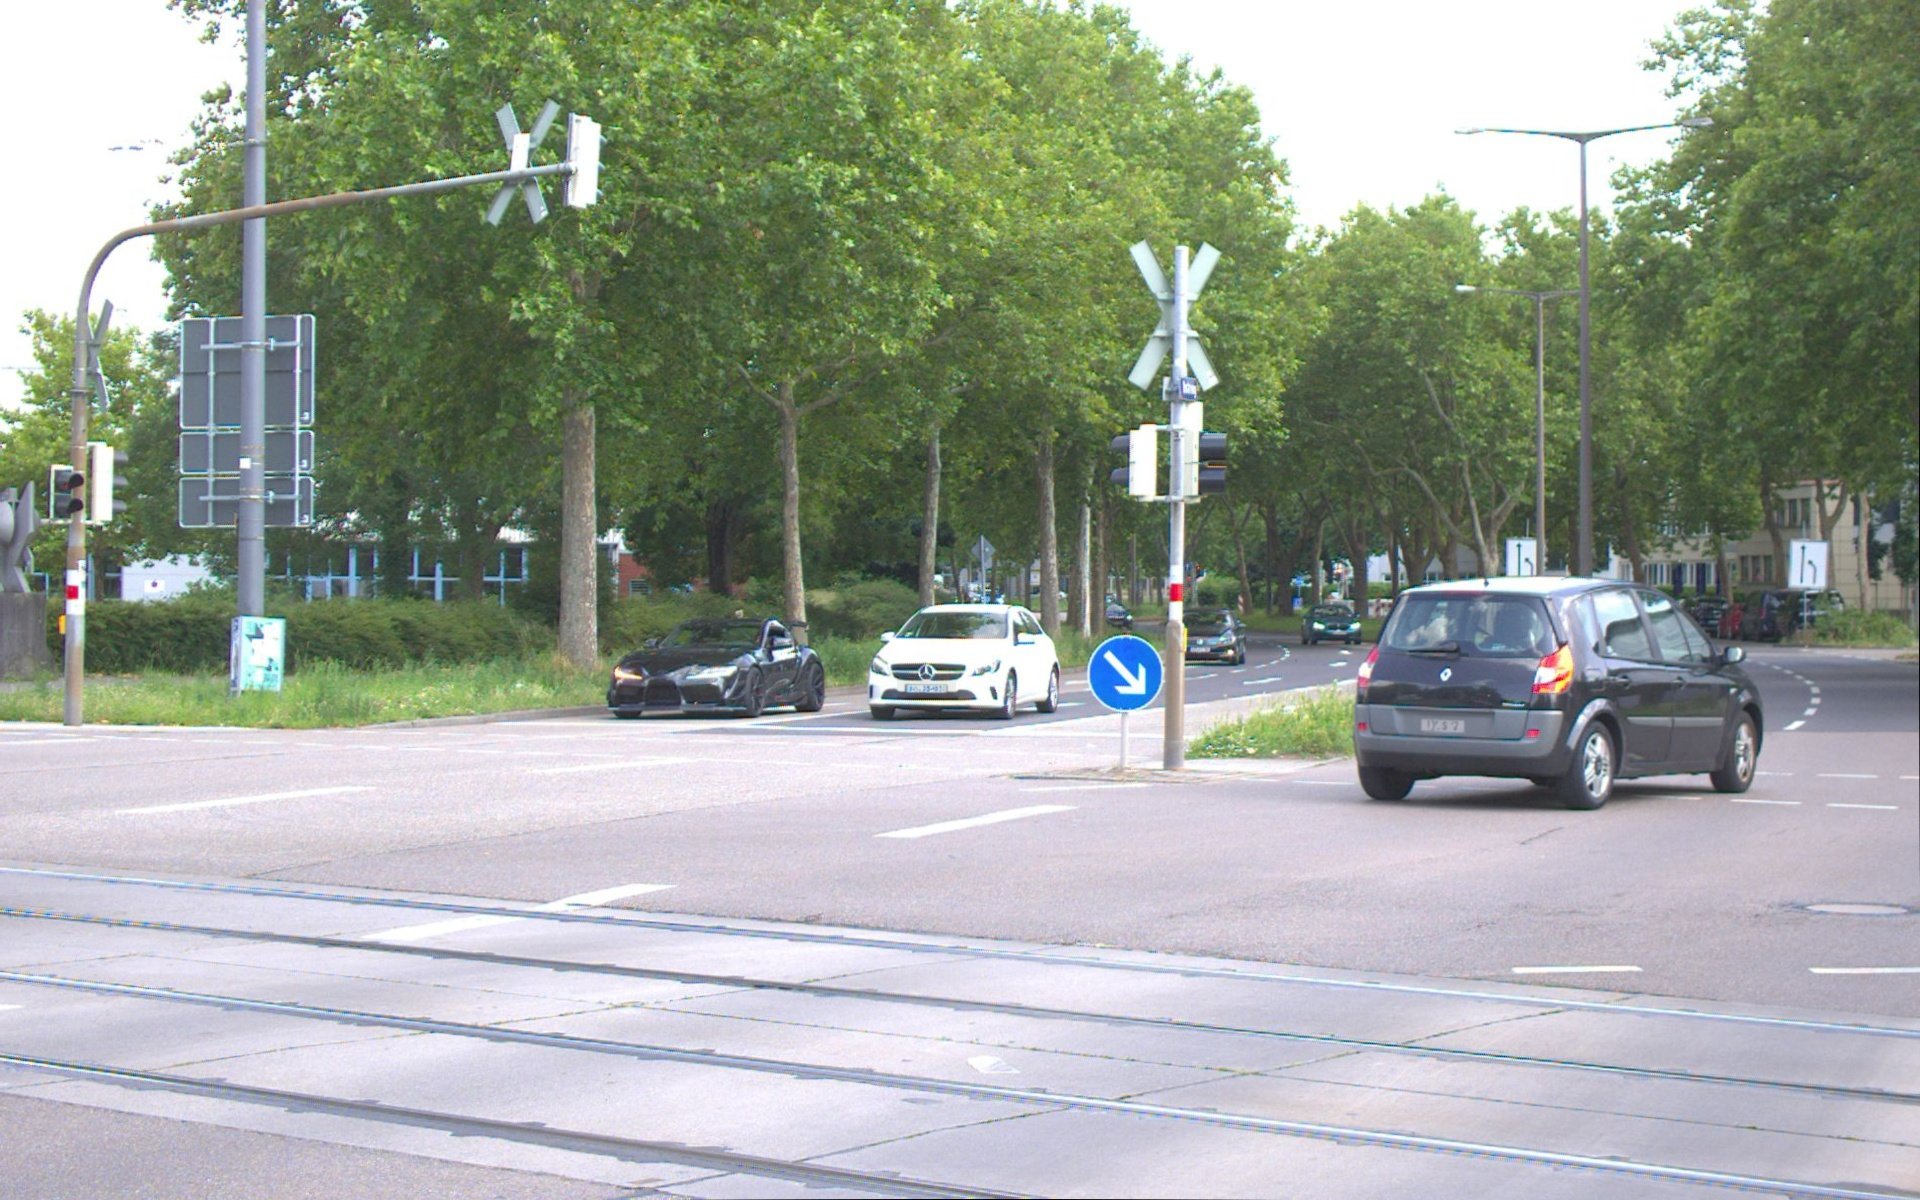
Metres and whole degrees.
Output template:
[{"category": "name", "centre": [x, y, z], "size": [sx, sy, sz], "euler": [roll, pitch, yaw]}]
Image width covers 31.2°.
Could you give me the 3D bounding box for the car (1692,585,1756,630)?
[{"category": "car", "centre": [29.603, 0.264, 133.287], "size": [1.994, 1.568, 4.000], "euler": [0, 2, 6]}]

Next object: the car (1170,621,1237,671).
[{"category": "car", "centre": [6.170, 1.153, 87.152], "size": [1.635, 1.187, 3.708], "euler": [1, 0, 4]}]

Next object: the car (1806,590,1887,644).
[{"category": "car", "centre": [29.078, 0.547, 112.838], "size": [1.994, 1.568, 4.000], "euler": [0, 2, 6]}]

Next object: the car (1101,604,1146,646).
[{"category": "car", "centre": [8.251, 1.259, 173.649], "size": [1.993, 2.007, 4.000], "euler": [1, 0, -1]}]

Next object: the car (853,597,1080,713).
[{"category": "car", "centre": [0.142, 0.663, 43.828], "size": [1.826, 1.360, 4.134], "euler": [1, 0, 16]}]

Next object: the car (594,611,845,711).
[{"category": "car", "centre": [-3.035, 0.758, 44.129], "size": [1.637, 1.187, 3.703], "euler": [1, 0, 25]}]

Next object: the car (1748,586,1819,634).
[{"category": "car", "centre": [29.870, 0.347, 124.814], "size": [1.994, 1.568, 4.000], "euler": [0, 2, 6]}]

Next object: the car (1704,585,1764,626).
[{"category": "car", "centre": [32.362, 0.227, 143.819], "size": [1.994, 1.568, 4.000], "euler": [0, 2, 6]}]

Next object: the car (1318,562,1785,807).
[{"category": "car", "centre": [4.368, 0.564, 24.940], "size": [1.734, 1.625, 4.044], "euler": [0, 0, 36]}]

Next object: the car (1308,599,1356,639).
[{"category": "car", "centre": [13.366, 0.662, 123.299], "size": [1.657, 1.267, 3.770], "euler": [0, 2, 7]}]
